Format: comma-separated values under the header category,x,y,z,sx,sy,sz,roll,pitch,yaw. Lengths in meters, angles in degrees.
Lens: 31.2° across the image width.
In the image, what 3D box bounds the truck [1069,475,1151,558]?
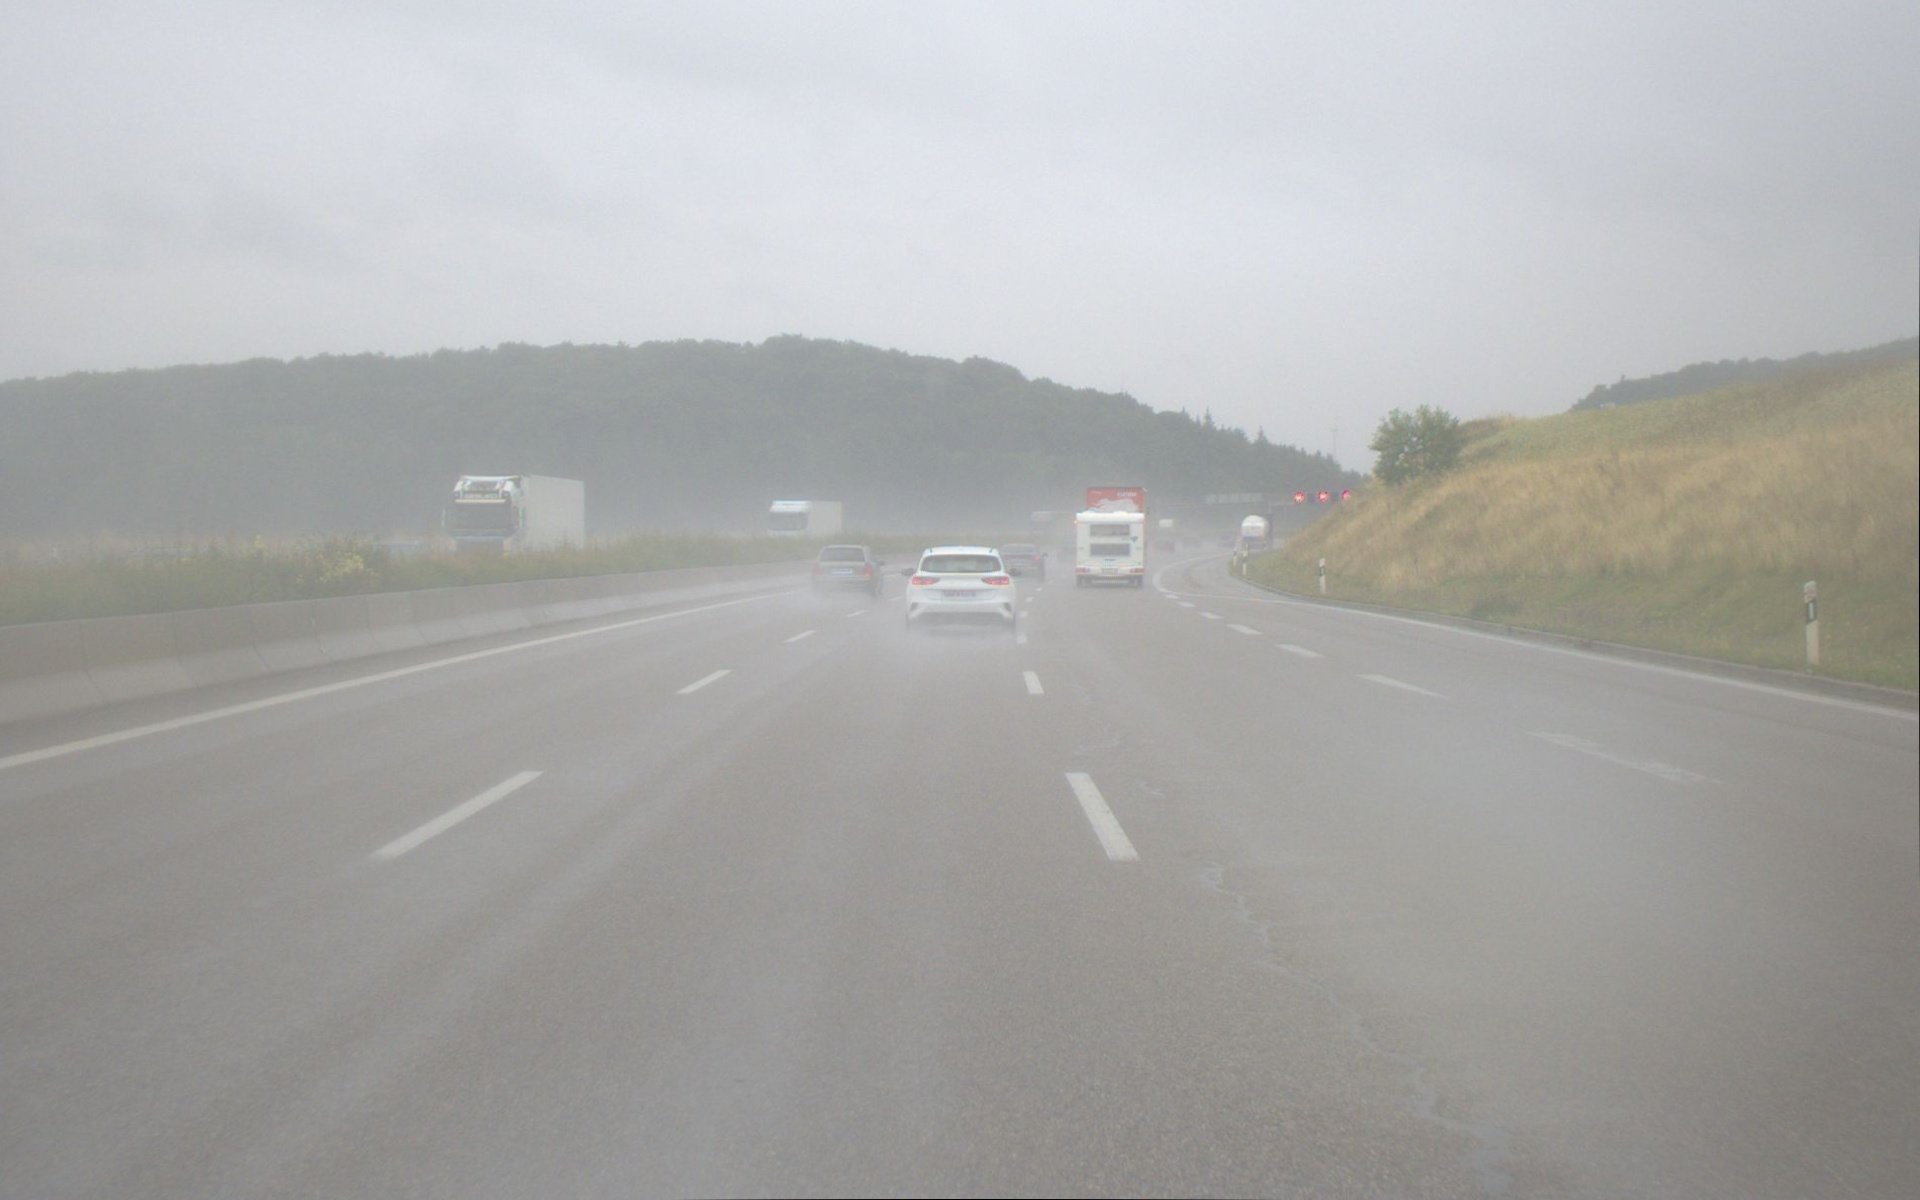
category,x,y,z,sx,sy,sz,roll,pitch,yaw
truck,7.041,-4.020,163.210,3.527,3.730,11.426,1,2,1

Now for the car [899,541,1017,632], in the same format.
category,x,y,z,sx,sy,sz,roll,pitch,yaw
car,-0.075,-0.234,56.931,1.867,1.458,4.000,0,0,-1

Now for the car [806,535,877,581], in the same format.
category,x,y,z,sx,sy,sz,roll,pitch,yaw
car,-3.119,-1.089,91.012,1.823,1.152,4.213,1,0,-1

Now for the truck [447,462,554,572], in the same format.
category,x,y,z,sx,sy,sz,roll,pitch,yaw
truck,-16.995,-3.058,127.532,2.953,3.980,6.217,0,1,2

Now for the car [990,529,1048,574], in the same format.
category,x,y,z,sx,sy,sz,roll,pitch,yaw
car,2.144,-1.783,125.748,1.993,1.612,4.000,0,1,-1

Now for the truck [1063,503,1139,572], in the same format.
category,x,y,z,sx,sy,sz,roll,pitch,yaw
truck,4.665,-2.078,114.603,2.408,2.244,4.693,0,1,1
